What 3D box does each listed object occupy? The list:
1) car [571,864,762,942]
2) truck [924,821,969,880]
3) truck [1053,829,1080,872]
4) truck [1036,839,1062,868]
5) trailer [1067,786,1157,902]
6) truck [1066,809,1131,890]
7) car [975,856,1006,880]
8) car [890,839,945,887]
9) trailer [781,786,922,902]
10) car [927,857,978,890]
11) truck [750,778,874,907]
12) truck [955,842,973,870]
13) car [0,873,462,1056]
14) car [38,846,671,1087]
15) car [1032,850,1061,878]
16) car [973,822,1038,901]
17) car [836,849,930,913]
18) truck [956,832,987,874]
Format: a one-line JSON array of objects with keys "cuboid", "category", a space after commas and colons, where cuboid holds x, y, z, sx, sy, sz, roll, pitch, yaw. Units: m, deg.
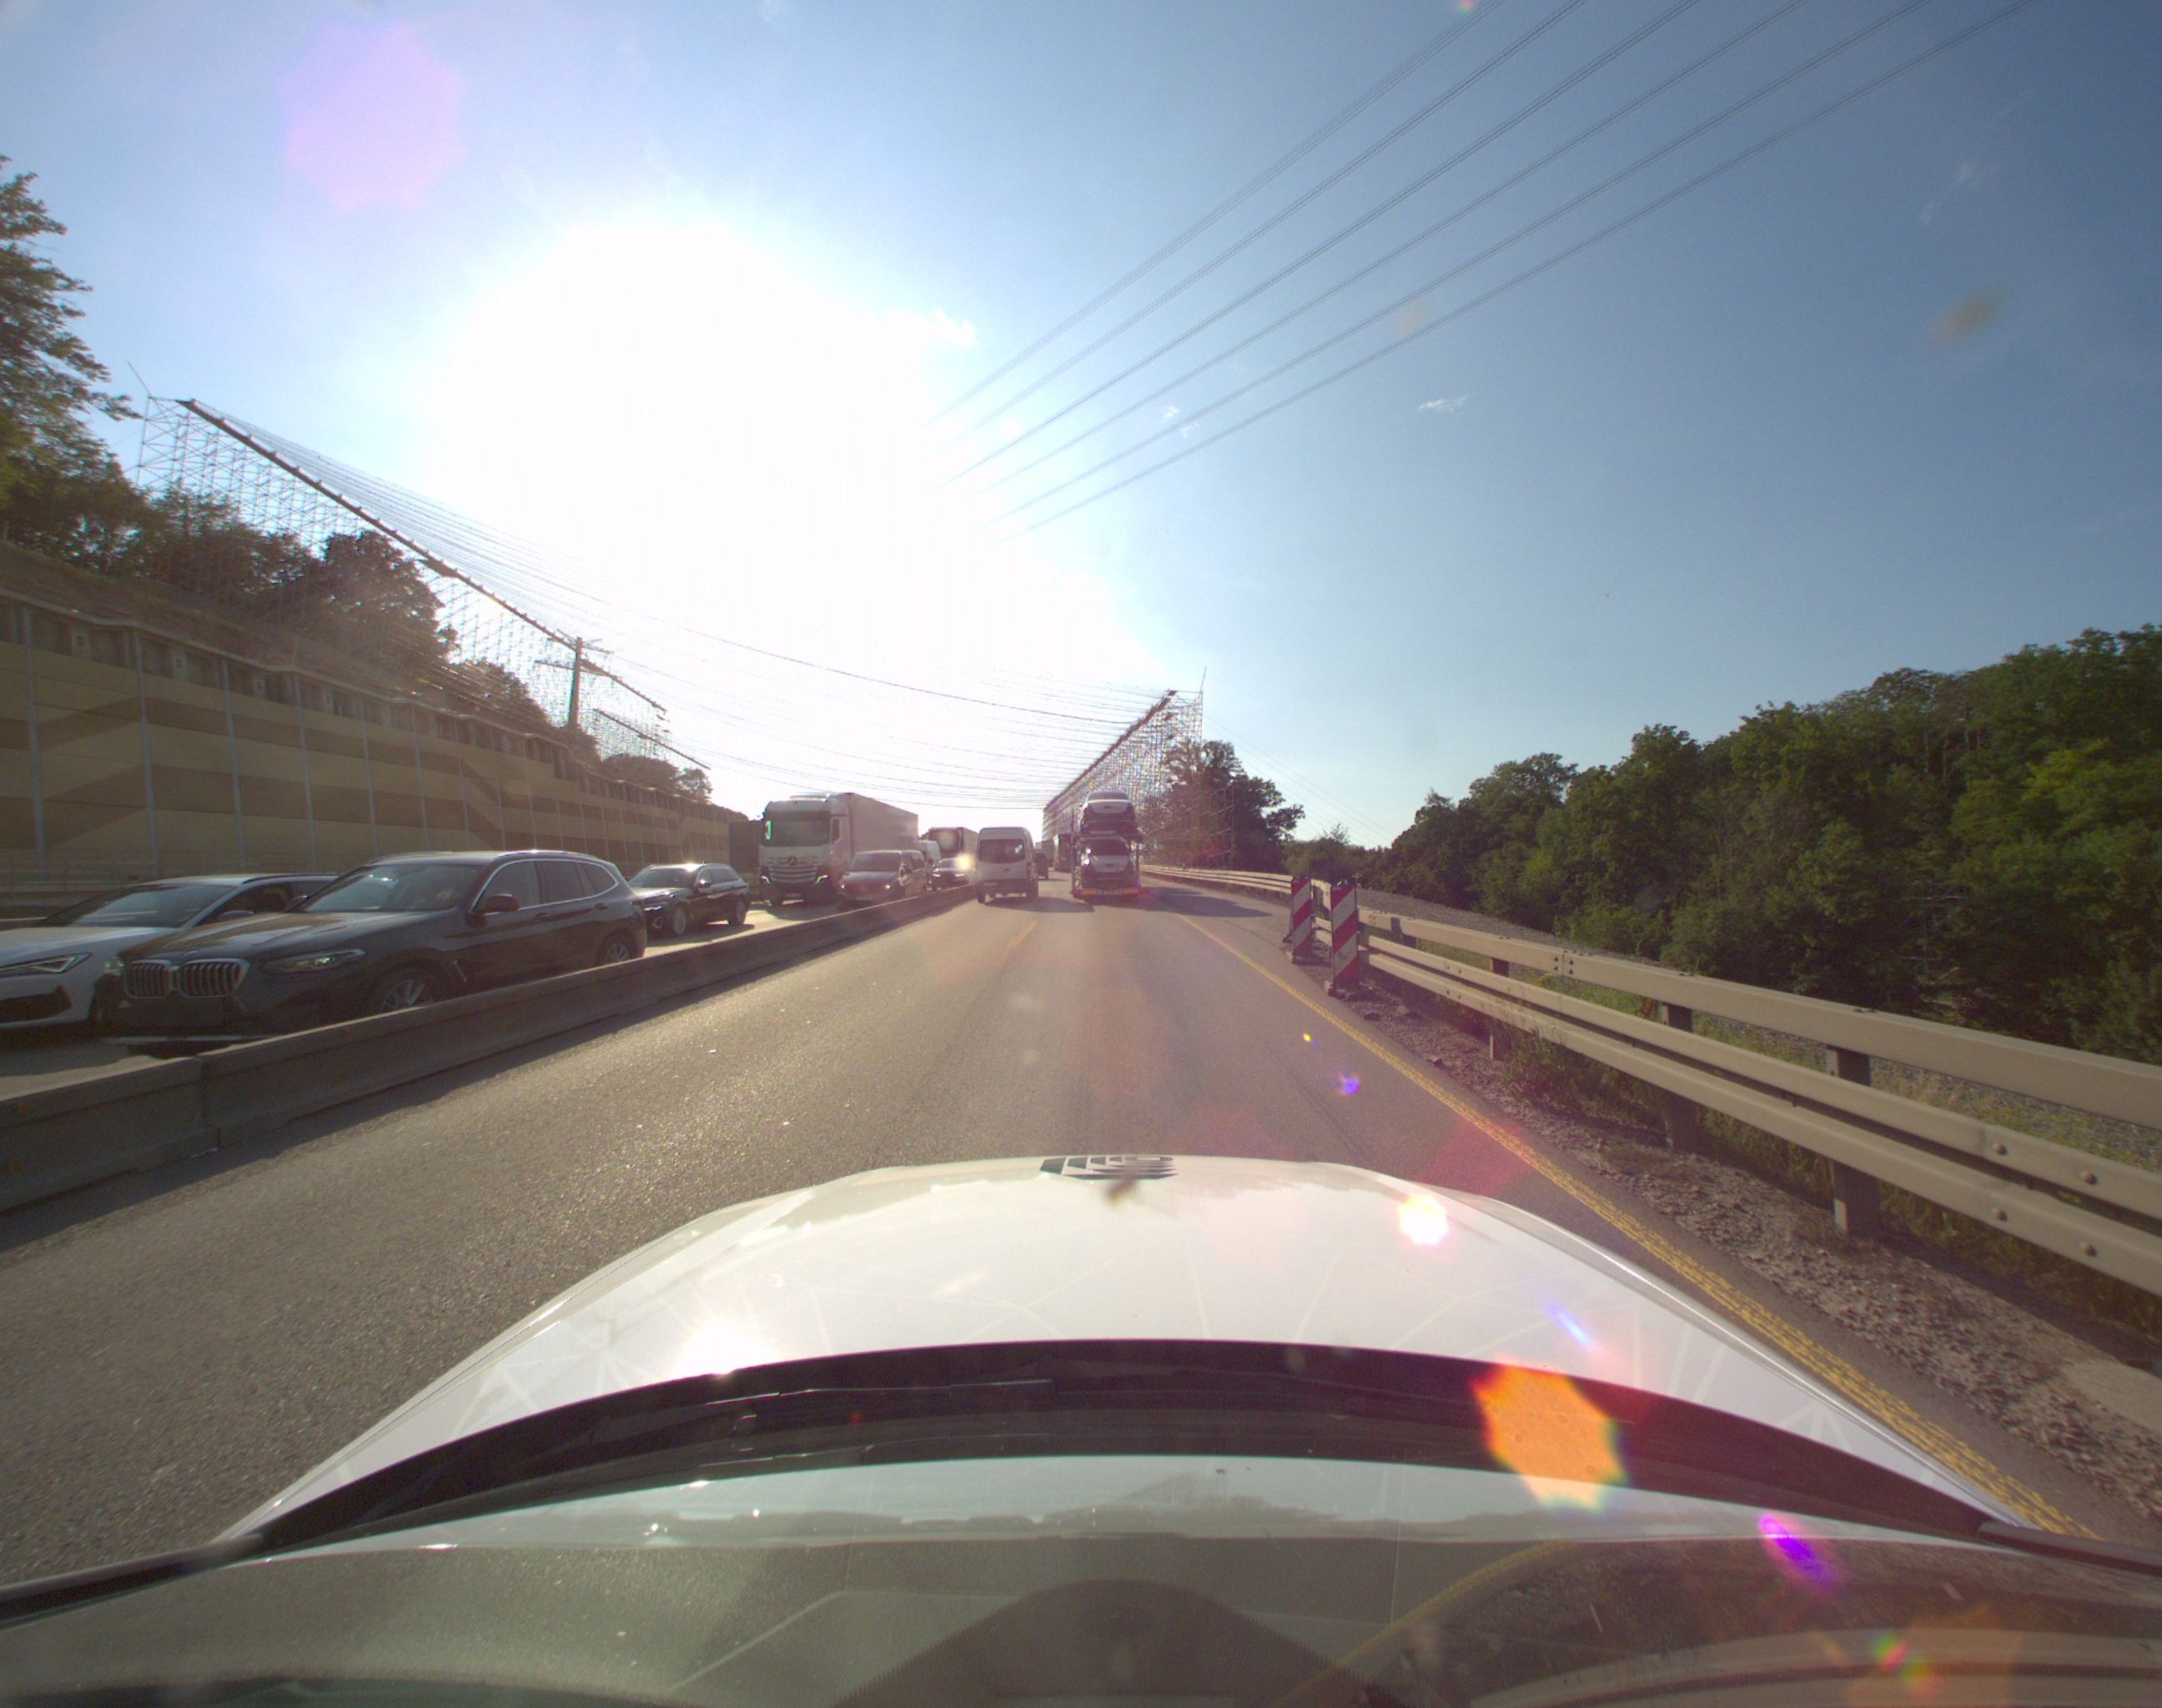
[{"cuboid": [-8.923, 0.974, 18.069, 1.737, 1.460, 4.713, -1, -1, 1], "category": "car"}, {"cuboid": [-10.196, -0.224, 62.370, 2.739, 4.300, 5.926, -1, -1, -3], "category": "truck"}, {"cuboid": [-1.492, -0.393, 89.078, 2.723, 4.385, 11.520, 0, 0, 0], "category": "truck"}, {"cuboid": [-5.175, -0.059, 131.467, 3.678, 4.220, 13.657, -3, 0, -2], "category": "truck"}, {"cuboid": [0.892, -0.272, 34.004, 2.860, 3.725, 14.939, -1, 0, -1], "category": "trailer"}, {"cuboid": [0.758, -0.184, 41.585, 2.874, 3.702, 7.319, -1, -1, -2], "category": "truck"}, {"cuboid": [-6.642, 1.019, 60.283, 1.864, 1.588, 4.801, 1, 1, -1], "category": "car"}, {"cuboid": [-9.933, 0.477, 50.056, 2.016, 2.690, 6.946, 0, 1, -1], "category": "car"}, {"cuboid": [-9.752, -0.310, 36.722, 2.713, 4.218, 13.740, -1, -1, -1], "category": "trailer"}, {"cuboid": [-6.523, 0.946, 41.685, 1.881, 1.568, 4.455, 0, 0, 0], "category": "car"}, {"cuboid": [-9.588, -0.369, 29.655, 2.705, 4.218, 5.679, -1, -1, -2], "category": "truck"}, {"cuboid": [-18.330, 0.280, 127.140, 2.662, 4.230, 6.084, -1, 0, -10], "category": "truck"}, {"cuboid": [-9.439, 0.943, 8.887, 1.742, 1.422, 4.610, 0, -1, 1], "category": "car"}, {"cuboid": [-6.235, 0.758, 8.029, 1.810, 1.579, 4.757, -3, 1, 1], "category": "car"}, {"cuboid": [-2.517, 0.745, 60.202, 1.988, 2.014, 3.998, 0, -1, -1], "category": "car"}, {"cuboid": [-2.657, 0.293, 29.476, 1.950, 2.621, 3.998, -1, -1, -1], "category": "car"}, {"cuboid": [-6.162, 0.752, 26.013, 1.800, 1.772, 5.450, 0, 1, -2], "category": "car"}, {"cuboid": [-11.236, -0.122, 84.031, 2.782, 4.141, 5.924, -1, -1, -4], "category": "truck"}]
